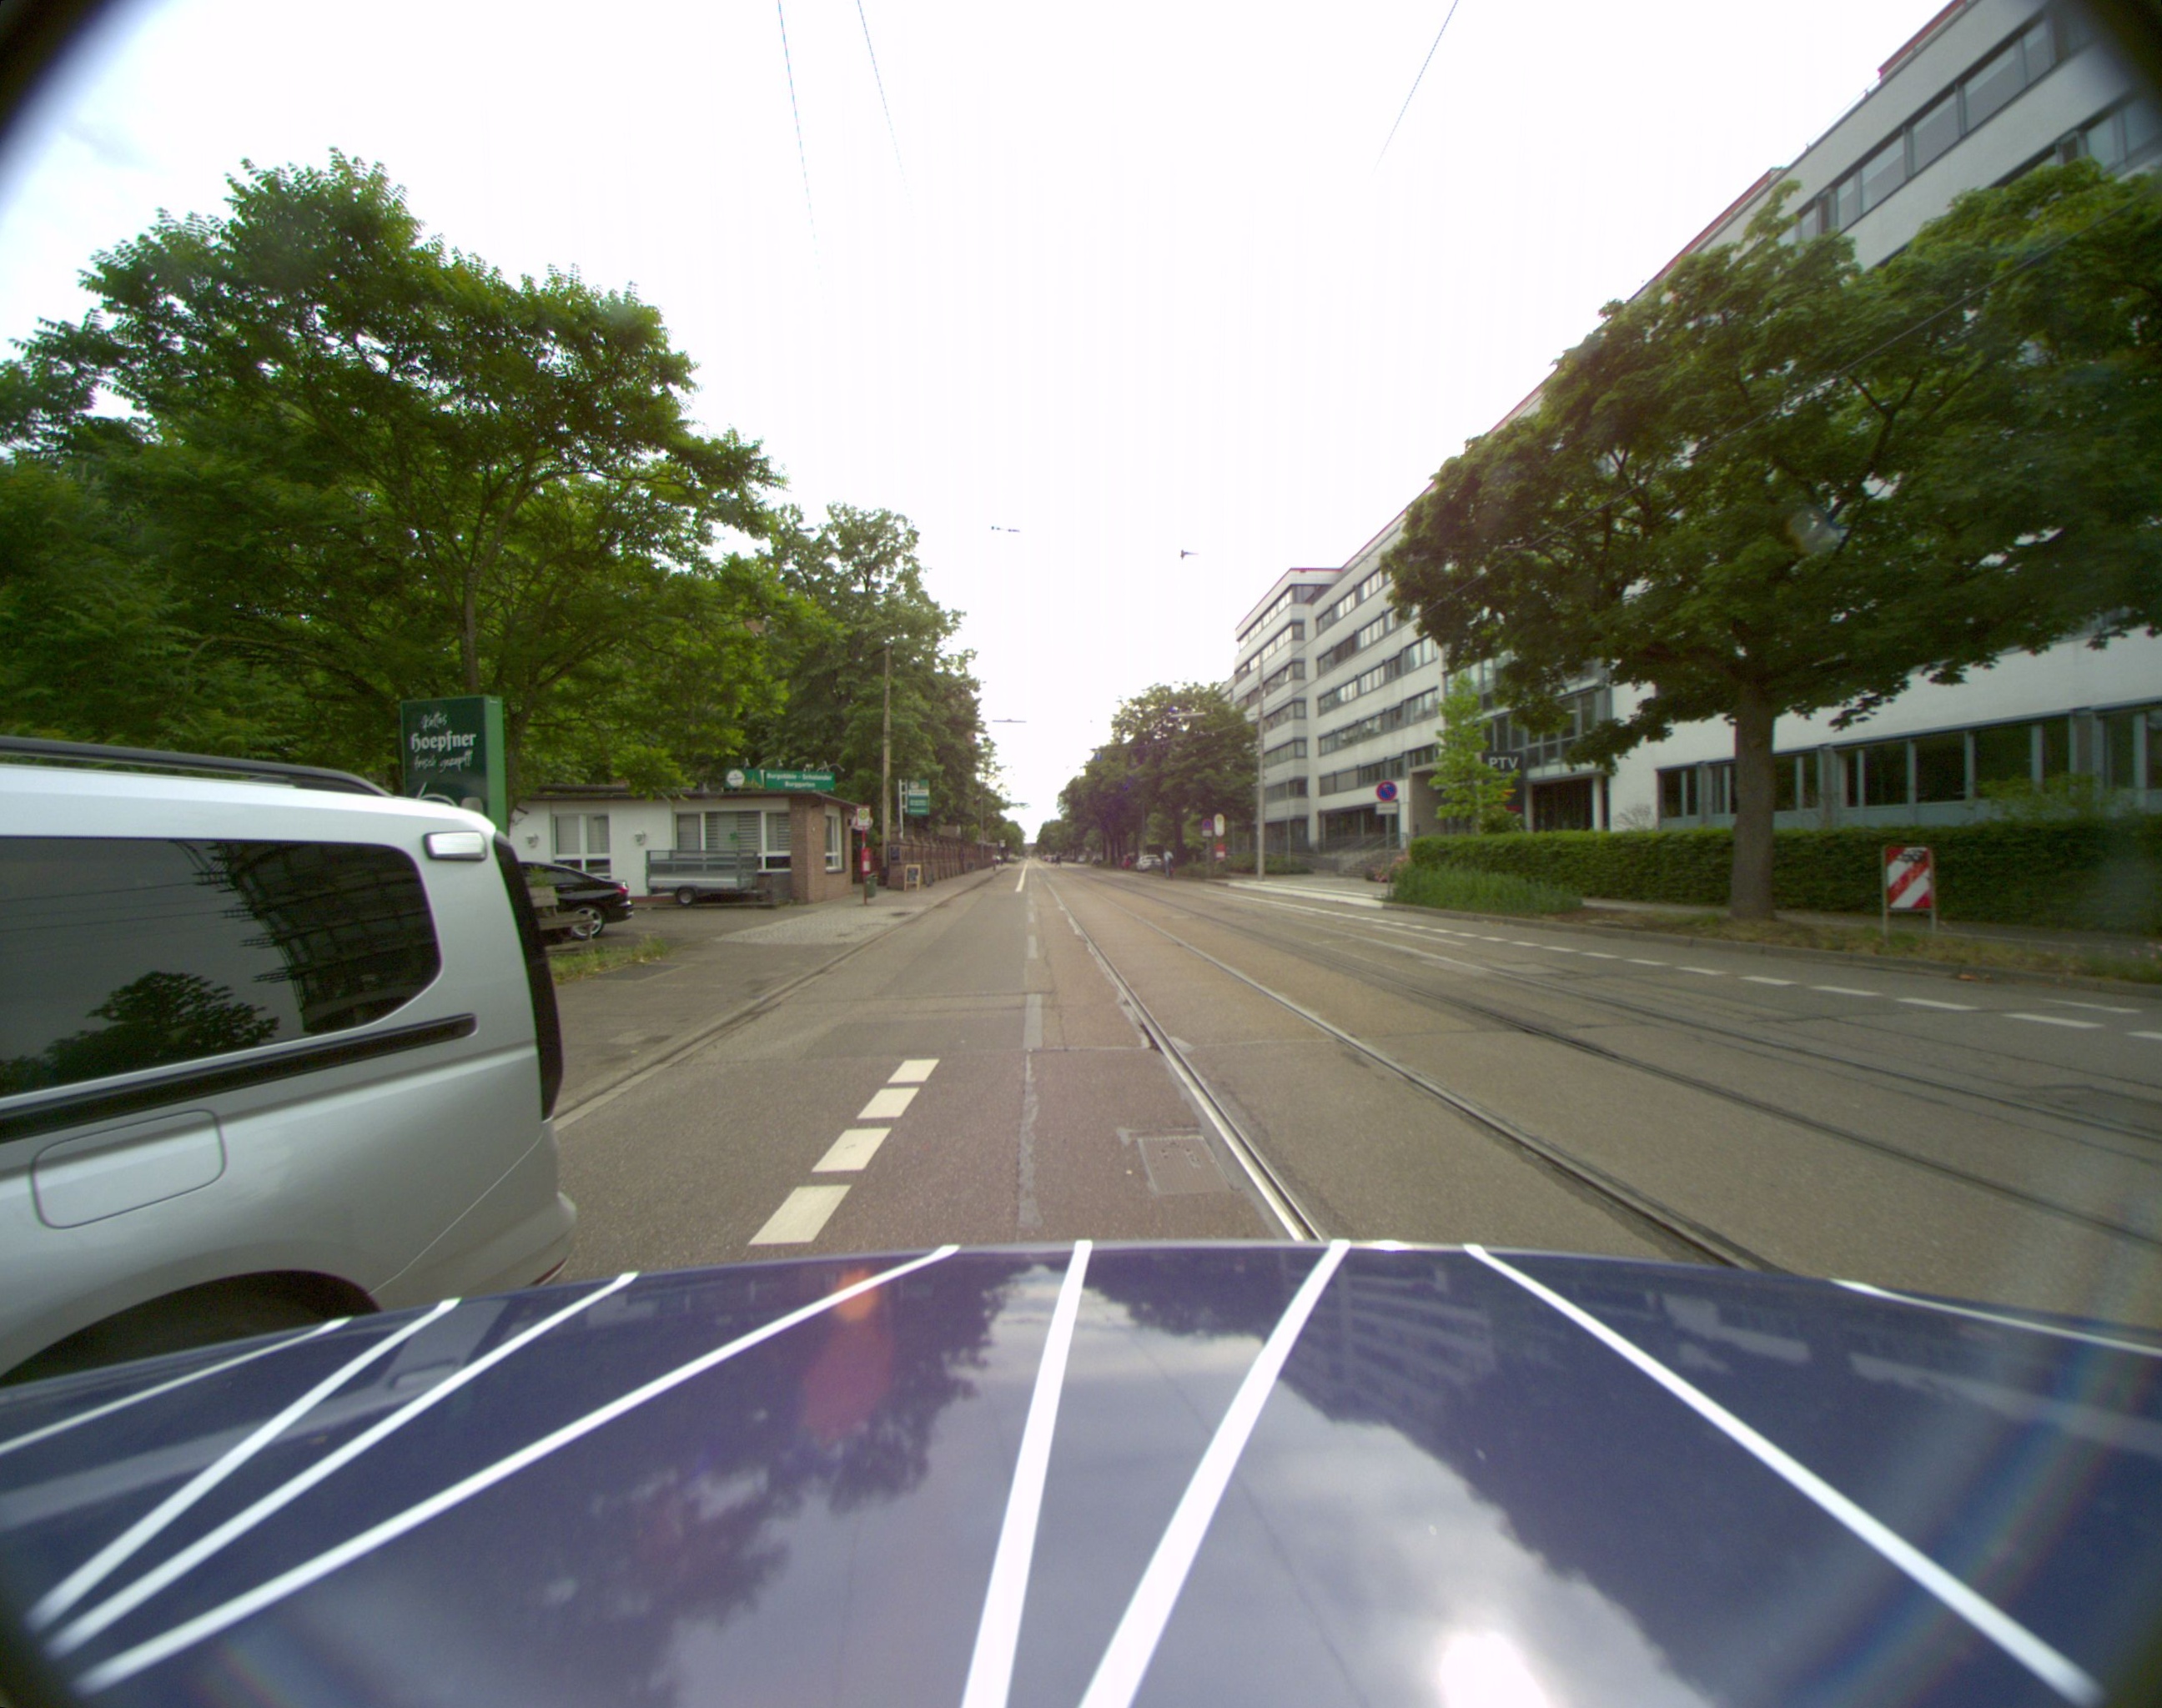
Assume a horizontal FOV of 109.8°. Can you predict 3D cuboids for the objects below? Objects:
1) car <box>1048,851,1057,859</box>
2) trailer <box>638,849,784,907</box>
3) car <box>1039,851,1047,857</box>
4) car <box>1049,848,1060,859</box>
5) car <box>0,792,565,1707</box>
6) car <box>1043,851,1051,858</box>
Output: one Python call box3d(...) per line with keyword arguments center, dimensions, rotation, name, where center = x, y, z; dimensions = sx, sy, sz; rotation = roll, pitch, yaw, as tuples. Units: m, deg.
box3d(center=(-6.985, 0.266, 186.818), dimensions=(1.999, 2.002, 3.999), rotation=(-2, 1, -2), name="car")
box3d(center=(-10.476, 0.667, 21.717), dimensions=(3.291, 1.523, 1.773), rotation=(0, 3, -3), name="trailer")
box3d(center=(-12.213, -0.001, 244.453), dimensions=(1.998, 2.002, 3.999), rotation=(-2, 1, 0), name="car")
box3d(center=(-5.303, -0.140, 151.465), dimensions=(1.998, 2.002, 4.000), rotation=(-2, 1, 1), name="car")
box3d(center=(-3.289, 0.789, 0.450), dimensions=(1.982, 1.832, 4.536), rotation=(1, 0, 26), name="car")
box3d(center=(-9.257, 0.141, 205.864), dimensions=(1.999, 2.002, 3.999), rotation=(-2, 1, -2), name="car")
